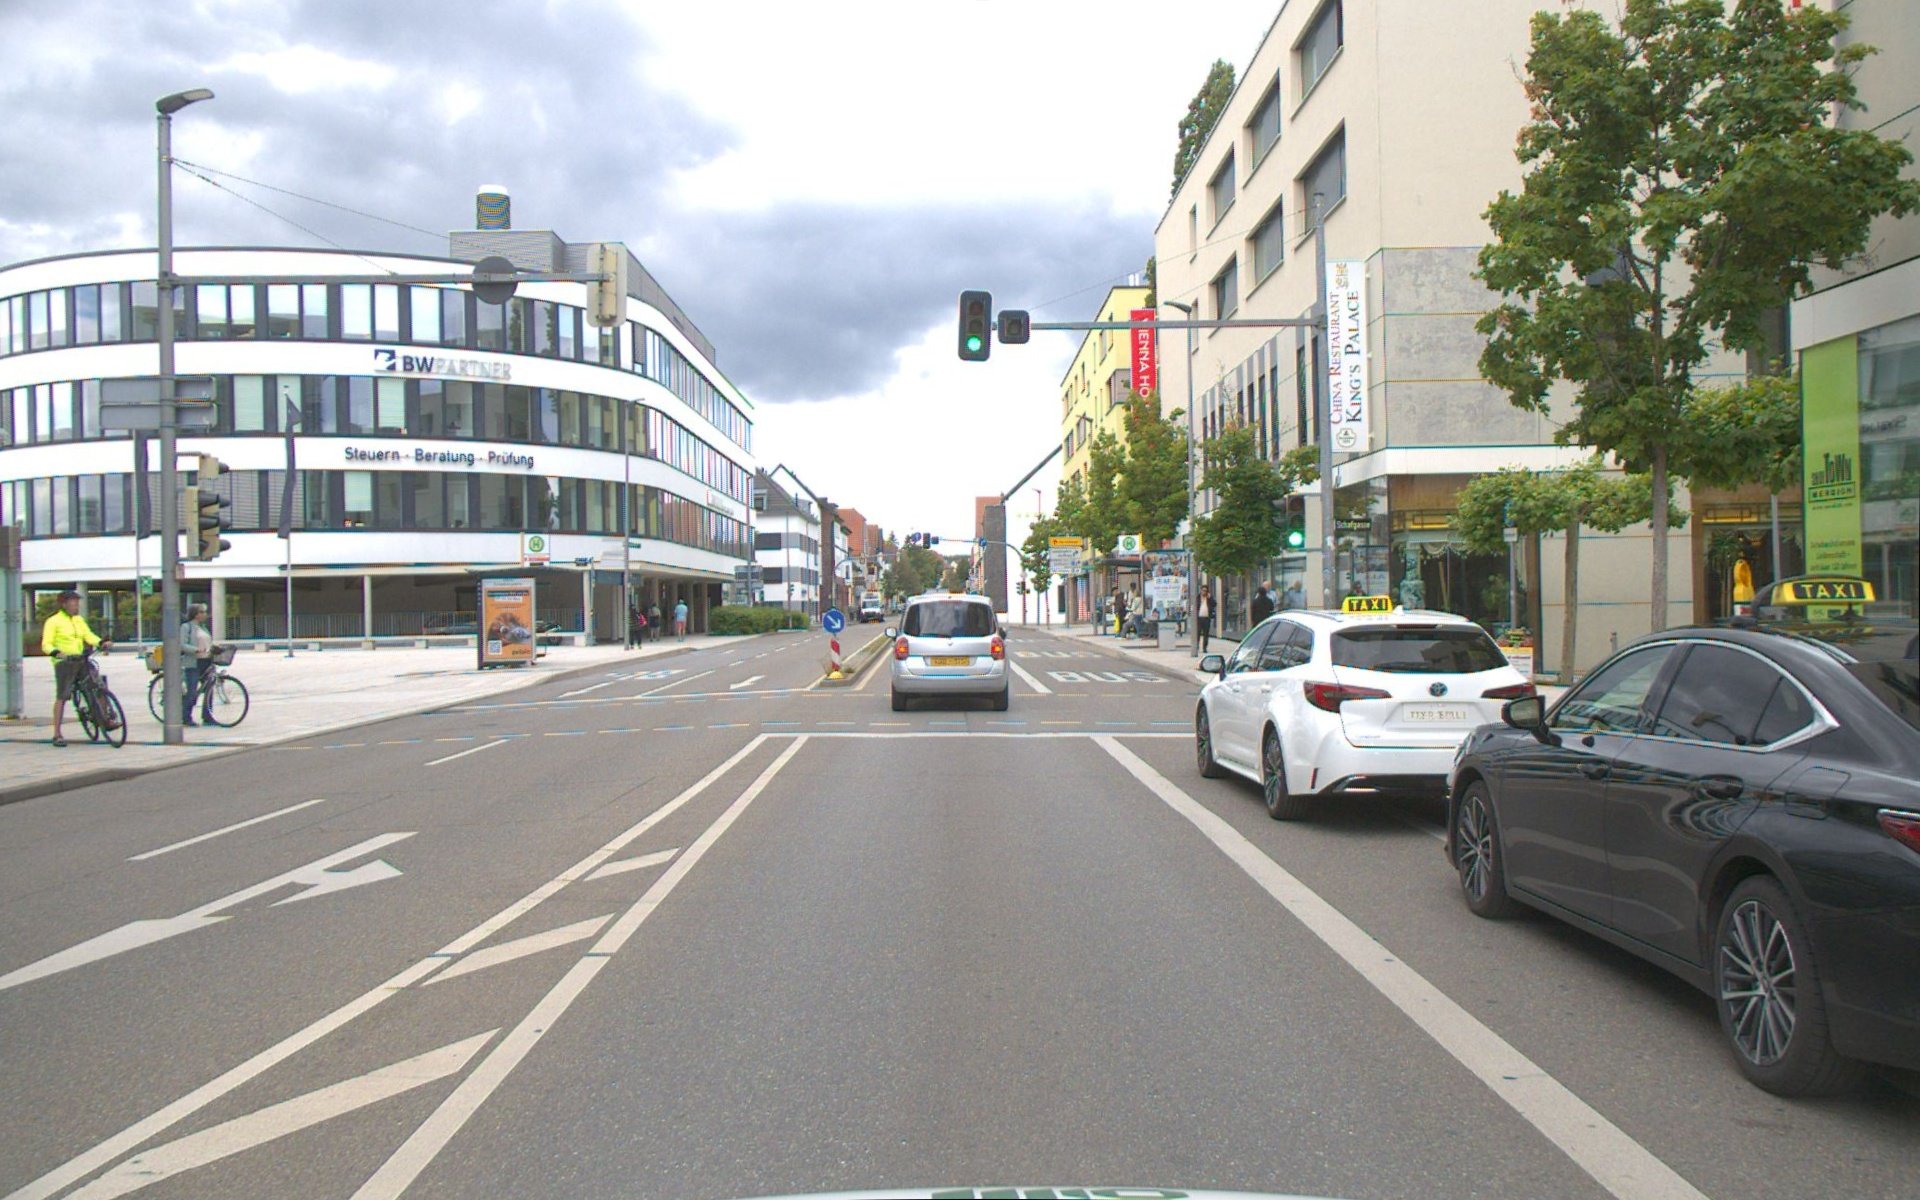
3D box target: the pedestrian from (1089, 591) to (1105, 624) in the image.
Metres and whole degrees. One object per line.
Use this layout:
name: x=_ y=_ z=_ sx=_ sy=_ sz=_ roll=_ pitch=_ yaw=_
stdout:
pedestrian: x=6.808 y=0.360 z=82.415 sx=0.681 sy=1.621 sz=0.603 roll=-2 pitch=0 yaw=-2

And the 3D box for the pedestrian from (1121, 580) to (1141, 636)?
pedestrian: x=5.563 y=0.260 z=53.949 sx=0.567 sy=1.800 sz=0.857 roll=-2 pitch=-1 yaw=4

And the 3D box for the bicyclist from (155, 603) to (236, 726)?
bicyclist: x=-10.689 y=0.889 z=23.127 sx=0.765 sy=1.678 sz=0.639 roll=1 pitch=0 yaw=14

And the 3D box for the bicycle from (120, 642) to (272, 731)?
bicycle: x=-10.667 y=1.188 z=23.099 sx=1.957 sy=1.150 sz=0.639 roll=1 pitch=0 yaw=14

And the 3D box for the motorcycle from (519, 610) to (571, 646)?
motorcycle: x=-15.917 y=1.059 z=63.415 sx=1.816 sy=1.356 sz=0.636 roll=1 pitch=0 yaw=3

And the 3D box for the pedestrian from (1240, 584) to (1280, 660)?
pedestrian: x=6.584 y=0.487 z=36.305 sx=0.725 sy=1.636 sz=0.714 roll=-1 pitch=0 yaw=-1

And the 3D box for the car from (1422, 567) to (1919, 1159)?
car: x=3.366 y=0.711 z=6.478 sx=1.701 sy=1.569 sz=4.789 roll=1 pitch=0 yaw=-1

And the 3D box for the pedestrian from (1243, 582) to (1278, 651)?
pedestrian: x=7.526 y=0.402 z=41.396 sx=0.729 sy=1.698 sz=0.614 roll=-1 pitch=0 yaw=-1

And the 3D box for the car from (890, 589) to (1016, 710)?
car: x=-0.127 y=0.669 z=24.102 sx=1.672 sy=1.606 sz=3.999 roll=1 pitch=0 yaw=-1

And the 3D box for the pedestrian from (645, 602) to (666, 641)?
pedestrian: x=-13.115 y=0.928 z=71.192 sx=0.715 sy=1.641 sz=0.931 roll=0 pitch=0 yaw=1

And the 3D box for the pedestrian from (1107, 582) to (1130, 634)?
pedestrian: x=5.306 y=0.269 z=55.425 sx=0.705 sy=1.713 sz=0.733 roll=-2 pitch=-1 yaw=4

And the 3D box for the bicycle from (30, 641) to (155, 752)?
bicycle: x=-10.621 y=1.144 z=20.229 sx=1.996 sy=1.227 sz=0.743 roll=1 pitch=0 yaw=44

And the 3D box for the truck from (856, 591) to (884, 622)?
truck: x=-8.953 y=0.623 z=164.956 sx=2.385 sy=3.005 sz=8.362 roll=0 pitch=0 yaw=-1

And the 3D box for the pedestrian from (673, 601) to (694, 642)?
pedestrian: x=-11.761 y=0.908 z=70.262 sx=0.715 sy=1.703 sz=0.931 roll=0 pitch=0 yaw=1

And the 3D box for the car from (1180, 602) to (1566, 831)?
car: x=2.946 y=0.749 z=12.837 sx=1.746 sy=1.450 sz=4.513 roll=0 pitch=0 yaw=-2

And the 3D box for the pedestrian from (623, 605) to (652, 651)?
pedestrian: x=-11.355 y=0.971 z=58.263 sx=0.812 sy=1.594 sz=0.813 roll=0 pitch=0 yaw=4

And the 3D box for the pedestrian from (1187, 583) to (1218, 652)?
pedestrian: x=6.067 y=0.436 z=41.418 sx=0.641 sy=1.698 sz=0.614 roll=-1 pitch=0 yaw=-1

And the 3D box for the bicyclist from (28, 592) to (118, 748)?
bicyclist: x=-10.764 y=0.826 z=20.070 sx=0.761 sy=1.831 sz=0.743 roll=1 pitch=0 yaw=43

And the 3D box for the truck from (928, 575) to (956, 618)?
truck: x=-1.645 y=-0.317 z=156.651 sx=2.542 sy=3.925 sz=6.848 roll=-1 pitch=0 yaw=0

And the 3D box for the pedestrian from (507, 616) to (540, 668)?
pedestrian: x=-11.099 y=1.062 z=42.046 sx=0.670 sy=1.275 sz=0.576 roll=-2 pitch=0 yaw=-2

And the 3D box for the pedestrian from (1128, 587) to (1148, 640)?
pedestrian: x=5.561 y=0.419 z=51.697 sx=0.567 sy=1.618 sz=0.733 roll=-2 pitch=-1 yaw=4

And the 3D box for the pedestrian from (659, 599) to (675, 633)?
pedestrian: x=-15.206 y=0.827 z=85.947 sx=0.495 sy=1.760 sz=0.614 roll=-2 pitch=-1 yaw=30

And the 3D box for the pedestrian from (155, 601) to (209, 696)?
pedestrian: x=-16.551 y=1.017 z=35.183 sx=0.894 sy=1.979 sz=0.739 roll=0 pitch=-1 yaw=-40

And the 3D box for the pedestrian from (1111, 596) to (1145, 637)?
pedestrian: x=5.380 y=0.521 z=52.934 sx=0.924 sy=1.281 sz=0.732 roll=-2 pitch=-1 yaw=-4
